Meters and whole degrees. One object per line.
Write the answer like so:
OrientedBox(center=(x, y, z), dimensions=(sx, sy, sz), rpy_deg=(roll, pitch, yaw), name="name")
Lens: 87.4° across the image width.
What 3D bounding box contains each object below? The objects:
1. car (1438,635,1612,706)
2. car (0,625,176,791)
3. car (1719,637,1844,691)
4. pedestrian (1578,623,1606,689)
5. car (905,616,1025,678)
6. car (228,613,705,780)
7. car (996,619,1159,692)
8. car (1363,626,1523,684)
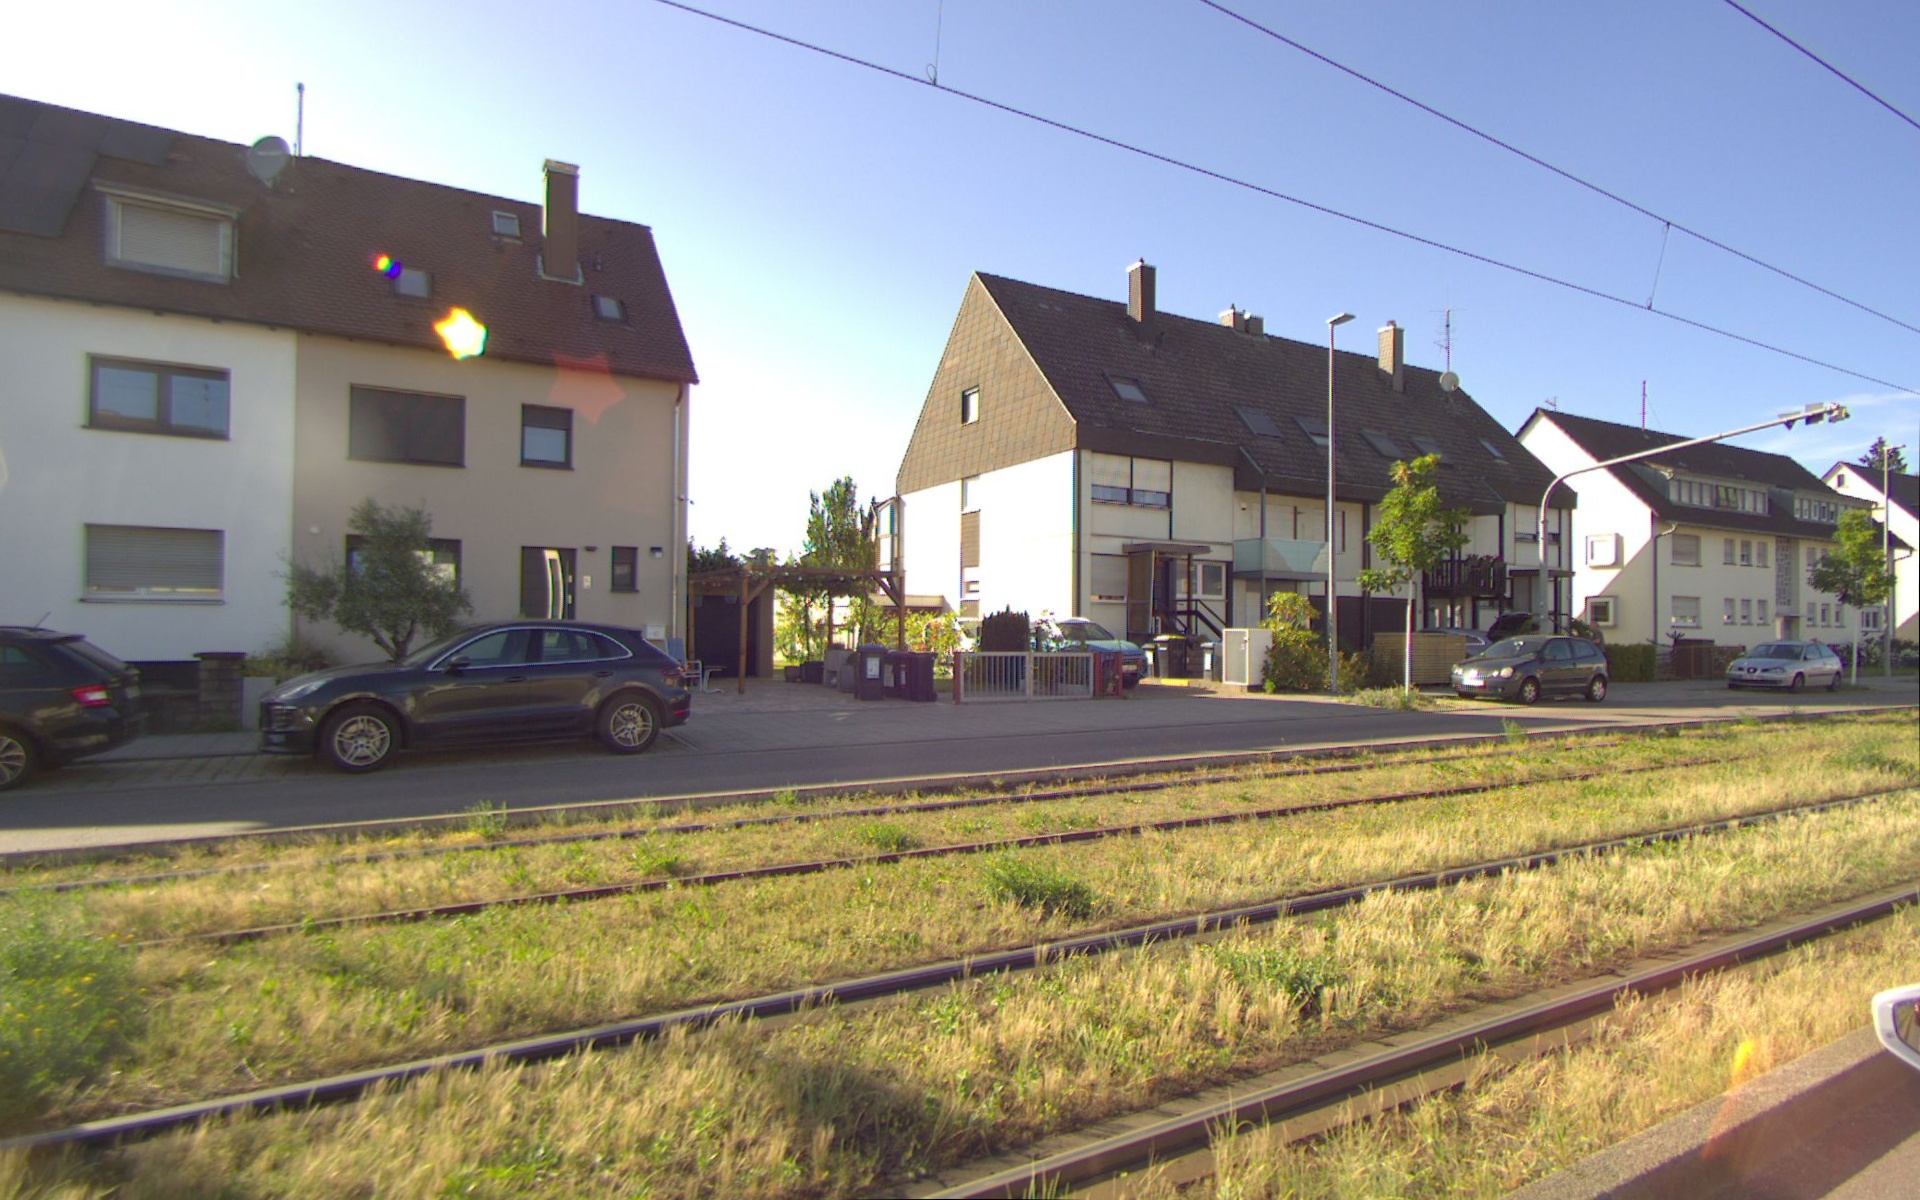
OrientedBox(center=(12.676, 1.524, 22.516), dimensions=(3.668, 1.472, 1.614), rpy_deg=(1, -2, -26), name="car")
OrientedBox(center=(-10.006, 0.982, 9.277), dimensions=(4.151, 1.494, 1.513), rpy_deg=(1, -1, -30), name="car")
OrientedBox(center=(23.585, 1.849, 28.810), dimensions=(3.674, 1.427, 1.611), rpy_deg=(3, -3, -30), name="car")
OrientedBox(center=(17.151, 1.504, 27.266), dimensions=(0.529, 1.769, 0.466), rpy_deg=(1, -1, -31), name="pedestrian")
OrientedBox(center=(0.069, 1.344, 29.411), dimensions=(1.833, 1.676, 4.144), rpy_deg=(1, -2, -27), name="car")
OrientedBox(center=(-5.624, 1.008, 11.861), dimensions=(4.762, 1.618, 1.792), rpy_deg=(1, -2, -34), name="car")
OrientedBox(center=(2.785, 1.298, 24.663), dimensions=(1.741, 1.638, 4.140), rpy_deg=(1, -2, -34), name="car")
OrientedBox(center=(14.050, 1.560, 29.403), dimensions=(1.718, 1.588, 3.874), rpy_deg=(2, -2, -37), name="car")
